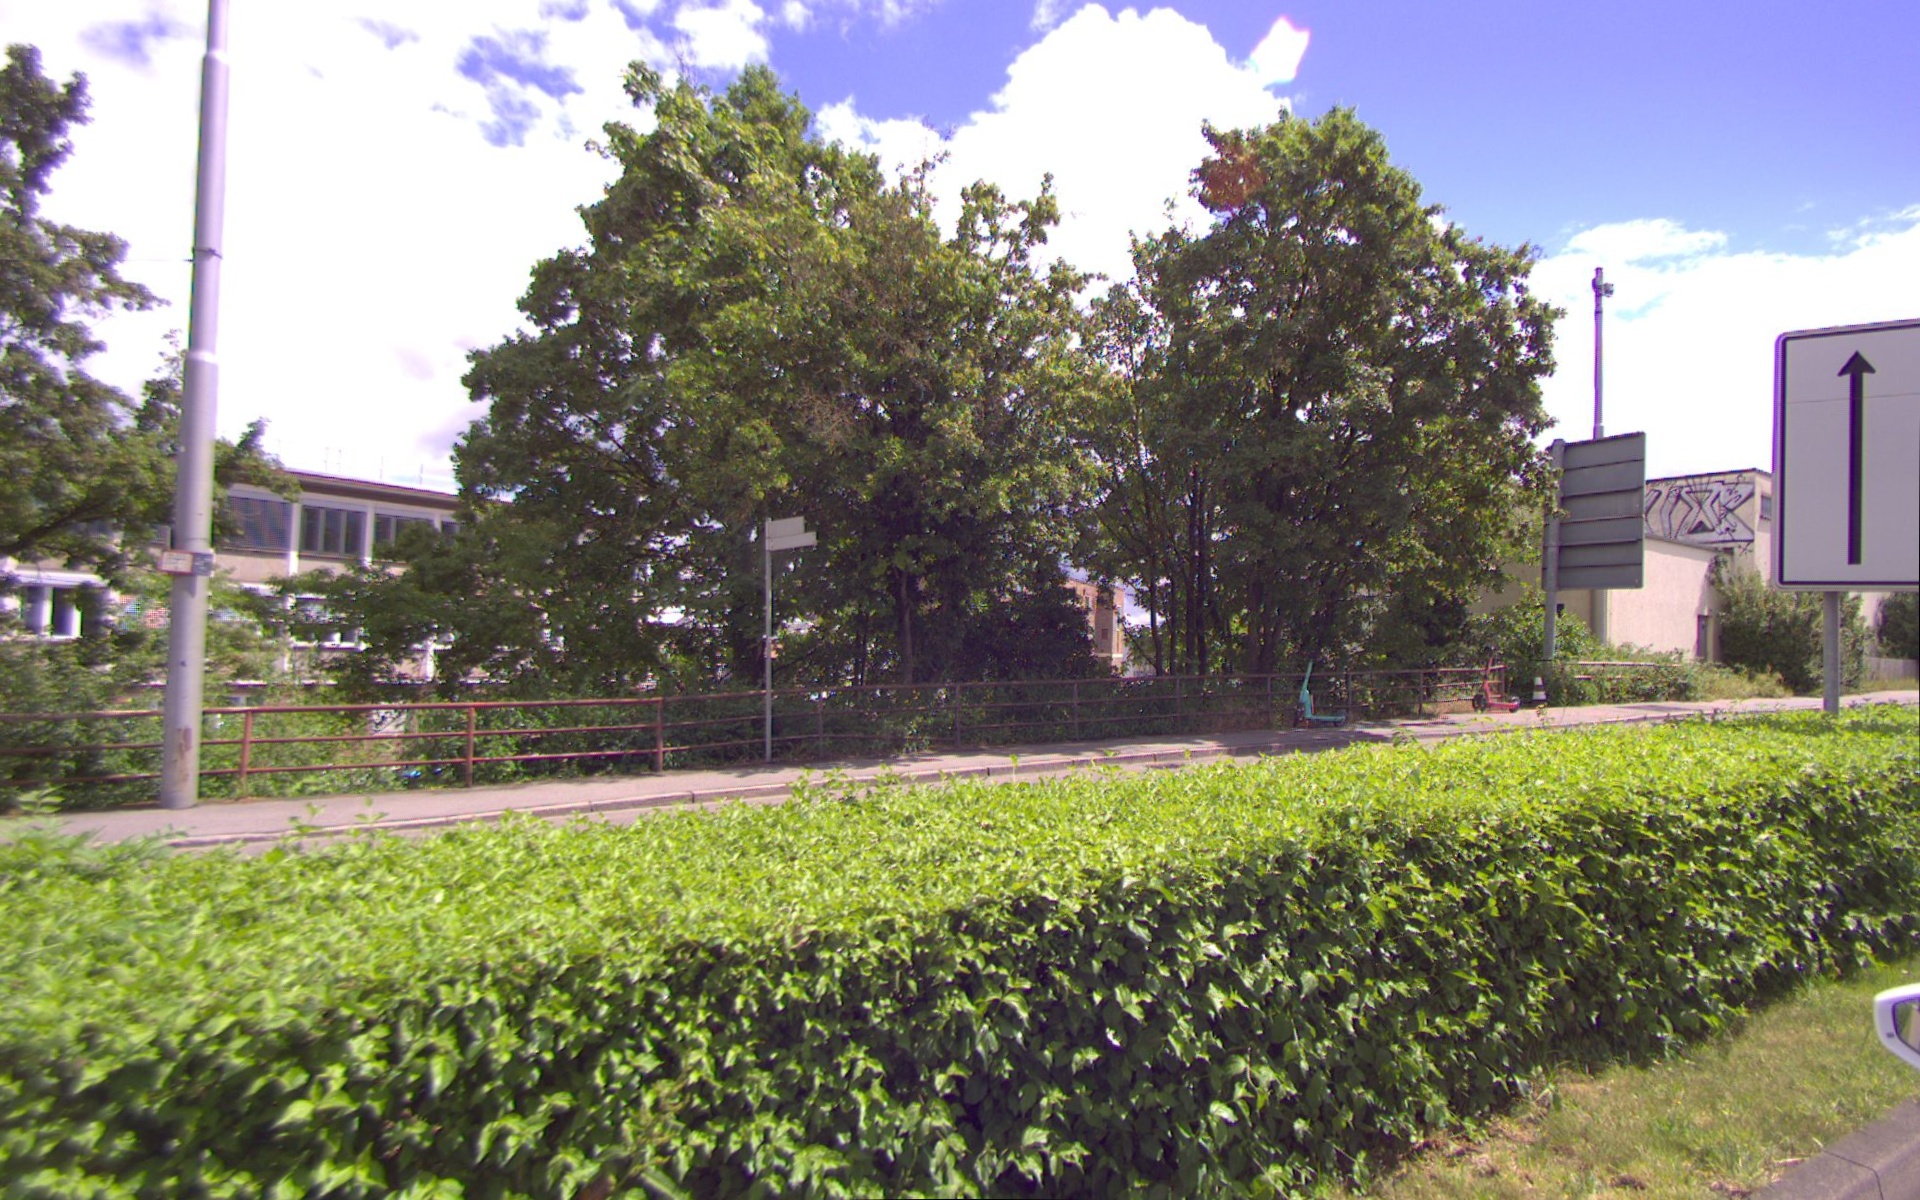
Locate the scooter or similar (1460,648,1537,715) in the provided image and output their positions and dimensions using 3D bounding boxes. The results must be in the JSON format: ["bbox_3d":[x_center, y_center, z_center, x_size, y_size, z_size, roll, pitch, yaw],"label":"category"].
[{"bbox_3d":[10.380,1.556,19.358,1.622,1.232,0.489,1,-2,-28],"label":"scooter or similar"}]

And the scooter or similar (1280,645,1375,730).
[{"bbox_3d":[6.007,1.402,16.401,1.622,1.322,0.489,1,0,-28],"label":"scooter or similar"}]
